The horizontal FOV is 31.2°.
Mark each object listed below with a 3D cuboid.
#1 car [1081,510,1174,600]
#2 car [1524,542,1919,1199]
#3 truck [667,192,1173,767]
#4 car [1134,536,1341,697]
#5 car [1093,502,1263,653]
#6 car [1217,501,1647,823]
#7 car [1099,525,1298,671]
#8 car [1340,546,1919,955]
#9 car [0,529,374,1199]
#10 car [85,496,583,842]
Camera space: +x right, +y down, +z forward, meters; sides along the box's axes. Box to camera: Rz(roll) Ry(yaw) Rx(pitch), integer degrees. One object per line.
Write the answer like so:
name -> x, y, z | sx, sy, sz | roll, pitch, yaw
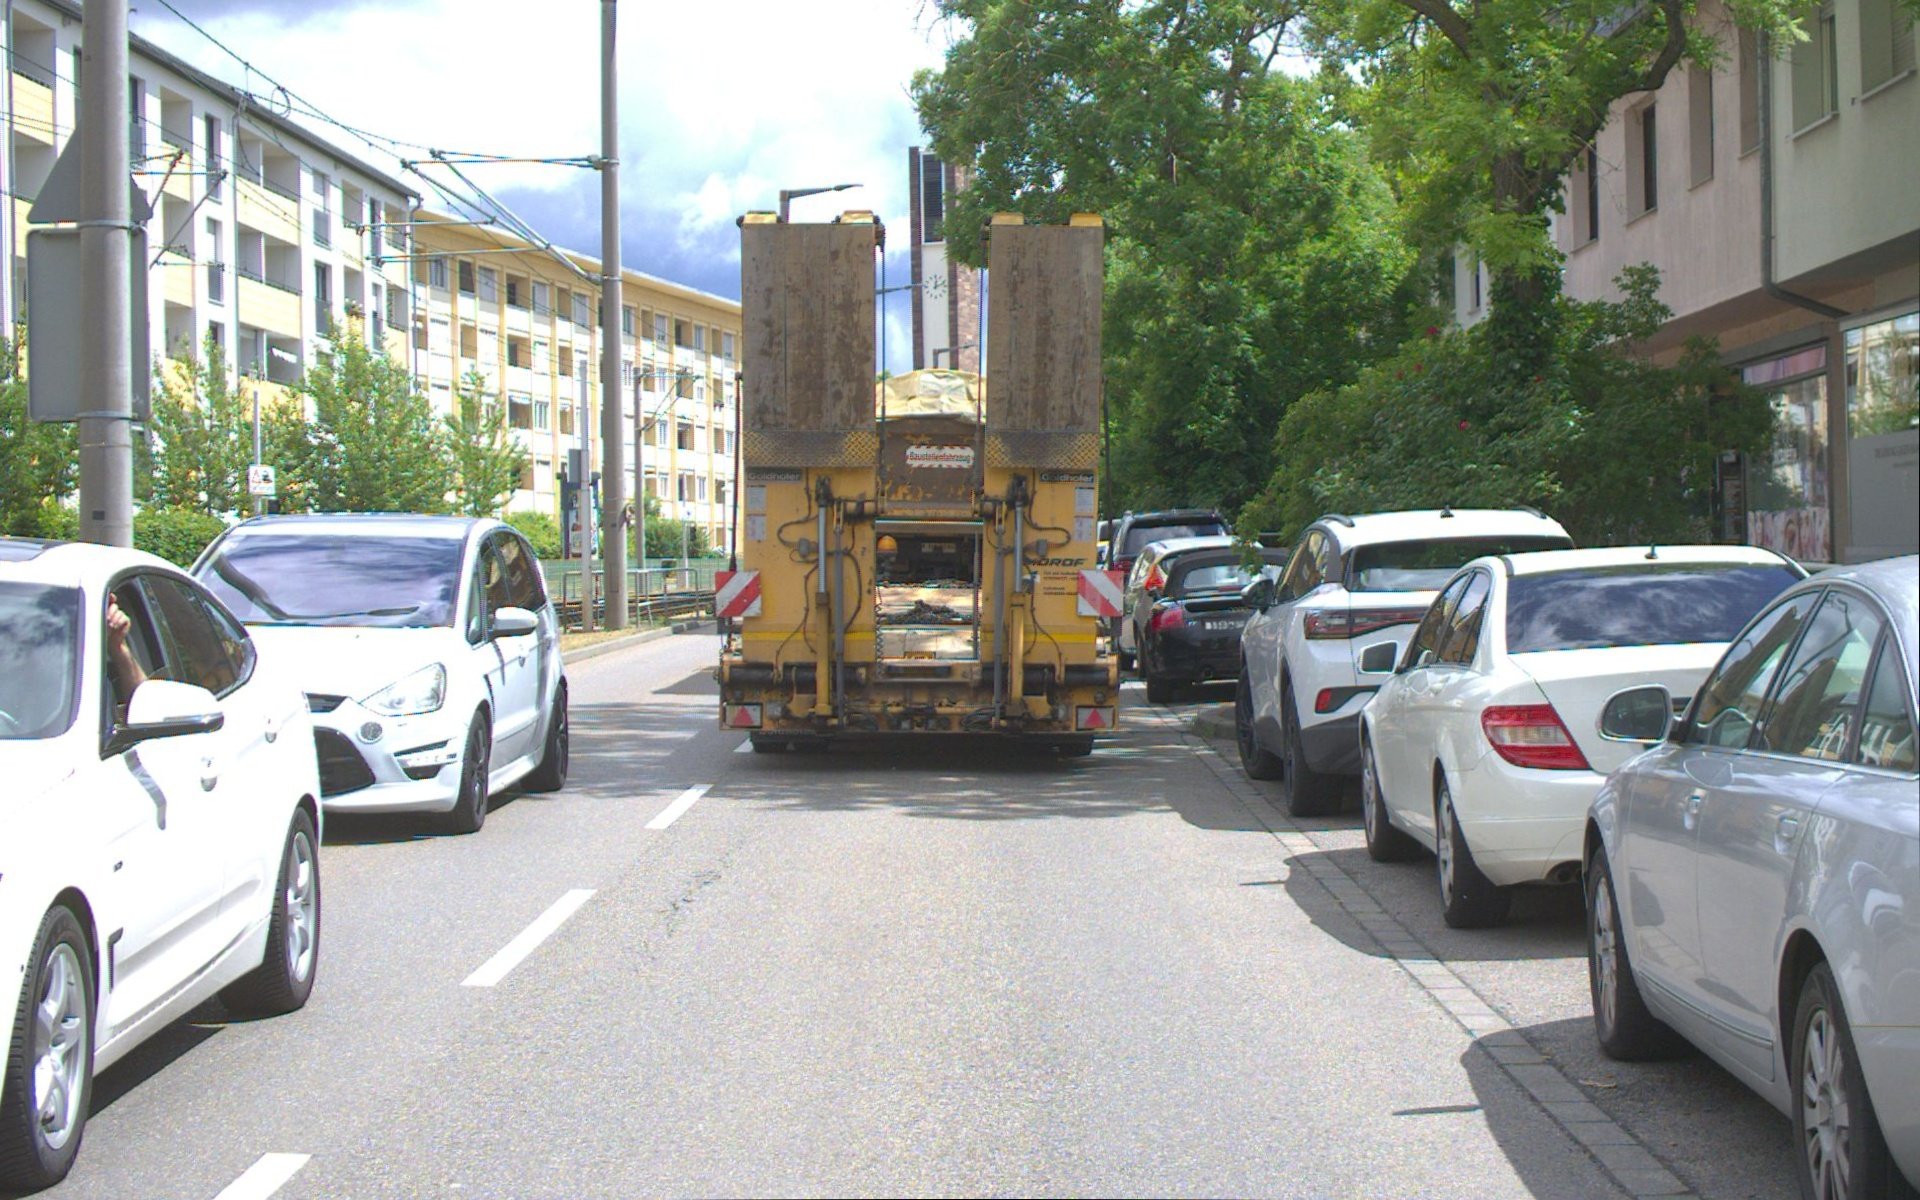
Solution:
car -> 3.776, -1.030, 78.438 | 1.914, 1.952, 5.745 | -1, 1, 1
car -> 2.577, 0.611, 8.305 | 1.814, 1.493, 4.910 | 0, 1, 2
truck -> -0.297, -0.859, 27.481 | 3.124, 3.552, 12.460 | 0, 1, 0
car -> 2.610, 0.110, 32.506 | 1.771, 1.345, 4.000 | -3, 1, 4
car -> 2.732, -0.315, 44.055 | 2.015, 1.782, 5.076 | -1, 1, 2
car -> 2.566, 0.273, 19.690 | 1.837, 1.638, 4.430 | 0, 1, 0
car -> 2.563, -0.045, 37.805 | 1.771, 1.437, 3.900 | -3, 1, -1
car -> 2.658, 0.495, 14.288 | 1.725, 1.421, 4.446 | 0, 1, 1
car -> -2.920, 0.556, 9.450 | 1.817, 1.497, 4.837 | 1, 1, -1
car -> -3.223, 0.285, 18.613 | 1.817, 1.608, 4.602 | 1, 1, 0
